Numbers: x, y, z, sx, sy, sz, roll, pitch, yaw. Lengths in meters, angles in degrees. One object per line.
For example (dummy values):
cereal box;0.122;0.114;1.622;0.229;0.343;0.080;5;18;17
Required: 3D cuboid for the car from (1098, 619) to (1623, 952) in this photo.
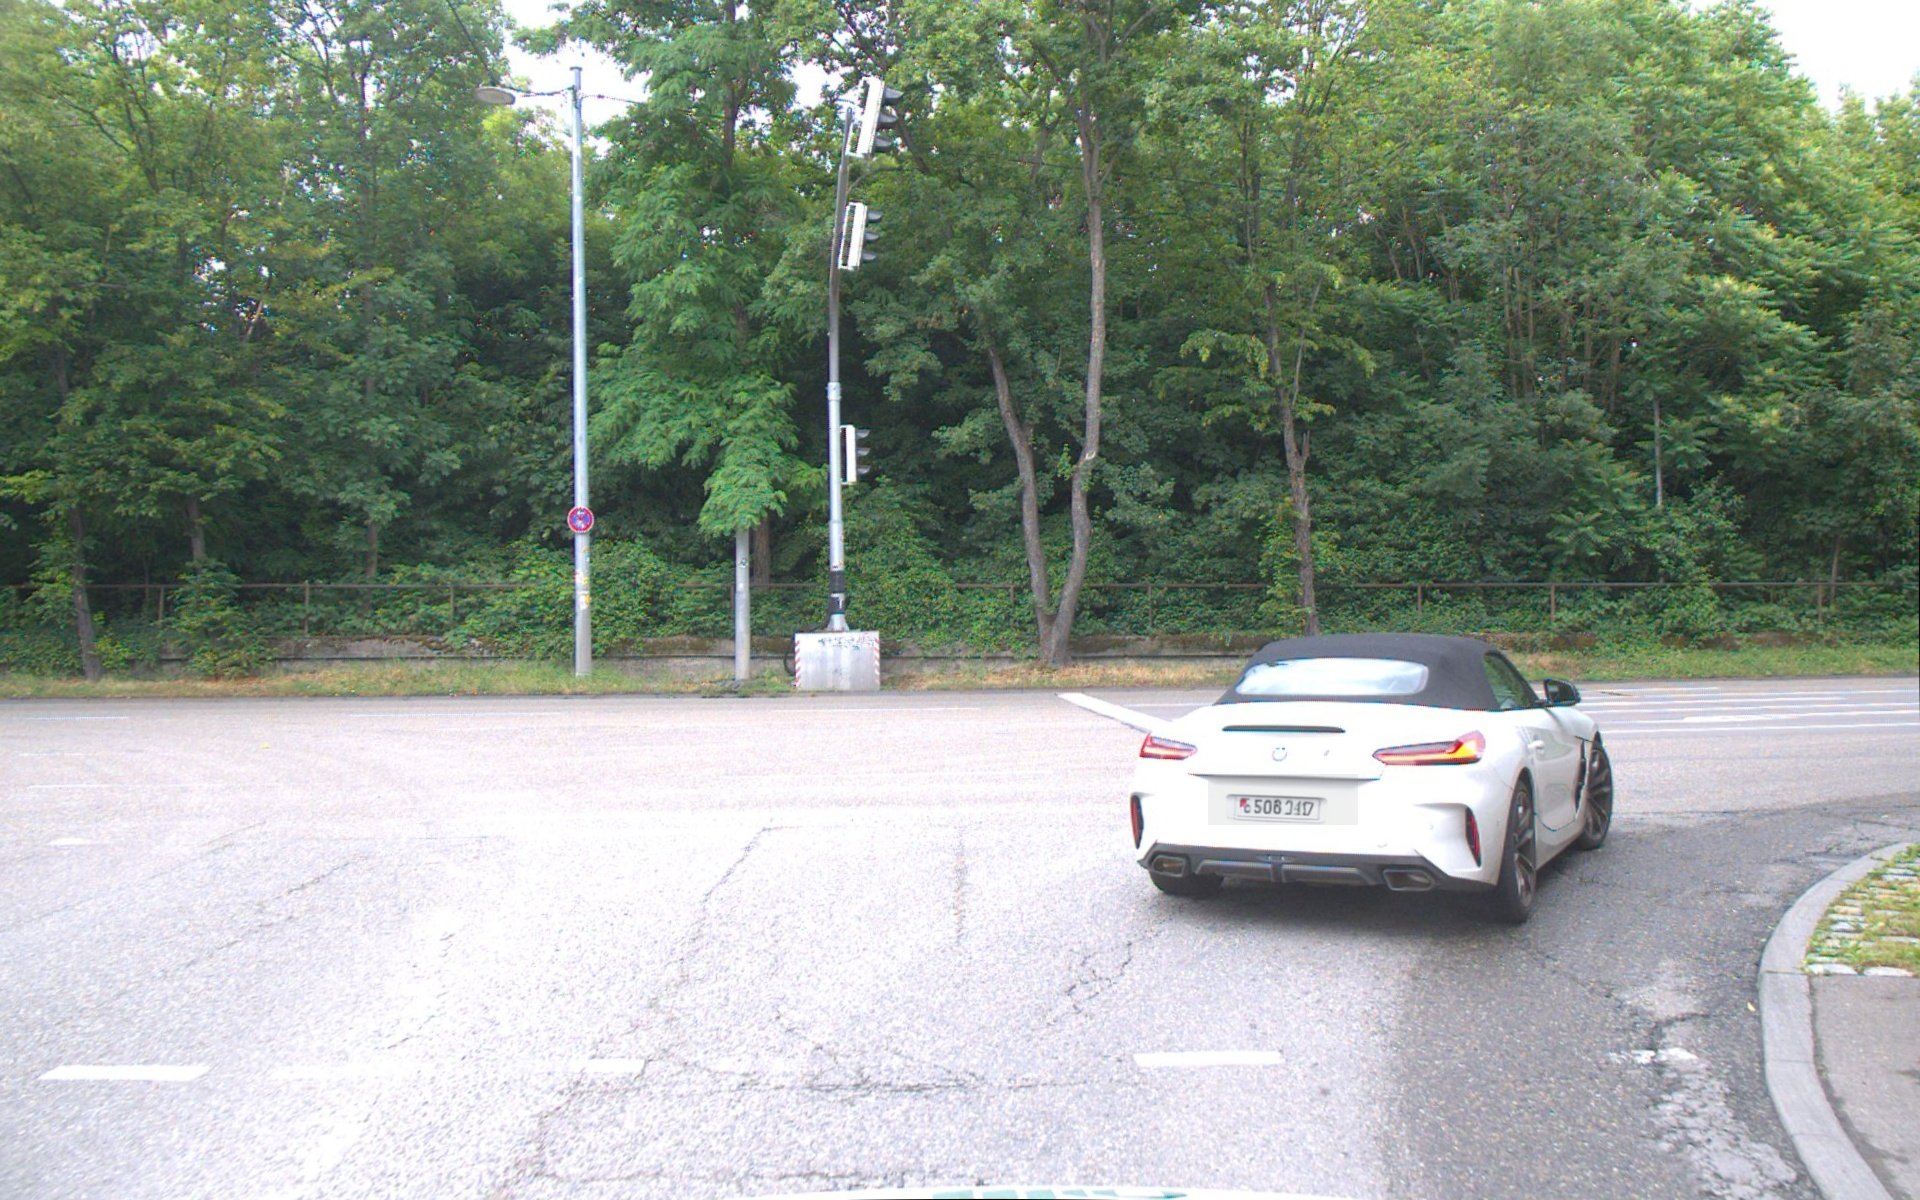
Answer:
car;2.355;0.792;8.888;1.839;1.332;3.867;-1;-1;28
